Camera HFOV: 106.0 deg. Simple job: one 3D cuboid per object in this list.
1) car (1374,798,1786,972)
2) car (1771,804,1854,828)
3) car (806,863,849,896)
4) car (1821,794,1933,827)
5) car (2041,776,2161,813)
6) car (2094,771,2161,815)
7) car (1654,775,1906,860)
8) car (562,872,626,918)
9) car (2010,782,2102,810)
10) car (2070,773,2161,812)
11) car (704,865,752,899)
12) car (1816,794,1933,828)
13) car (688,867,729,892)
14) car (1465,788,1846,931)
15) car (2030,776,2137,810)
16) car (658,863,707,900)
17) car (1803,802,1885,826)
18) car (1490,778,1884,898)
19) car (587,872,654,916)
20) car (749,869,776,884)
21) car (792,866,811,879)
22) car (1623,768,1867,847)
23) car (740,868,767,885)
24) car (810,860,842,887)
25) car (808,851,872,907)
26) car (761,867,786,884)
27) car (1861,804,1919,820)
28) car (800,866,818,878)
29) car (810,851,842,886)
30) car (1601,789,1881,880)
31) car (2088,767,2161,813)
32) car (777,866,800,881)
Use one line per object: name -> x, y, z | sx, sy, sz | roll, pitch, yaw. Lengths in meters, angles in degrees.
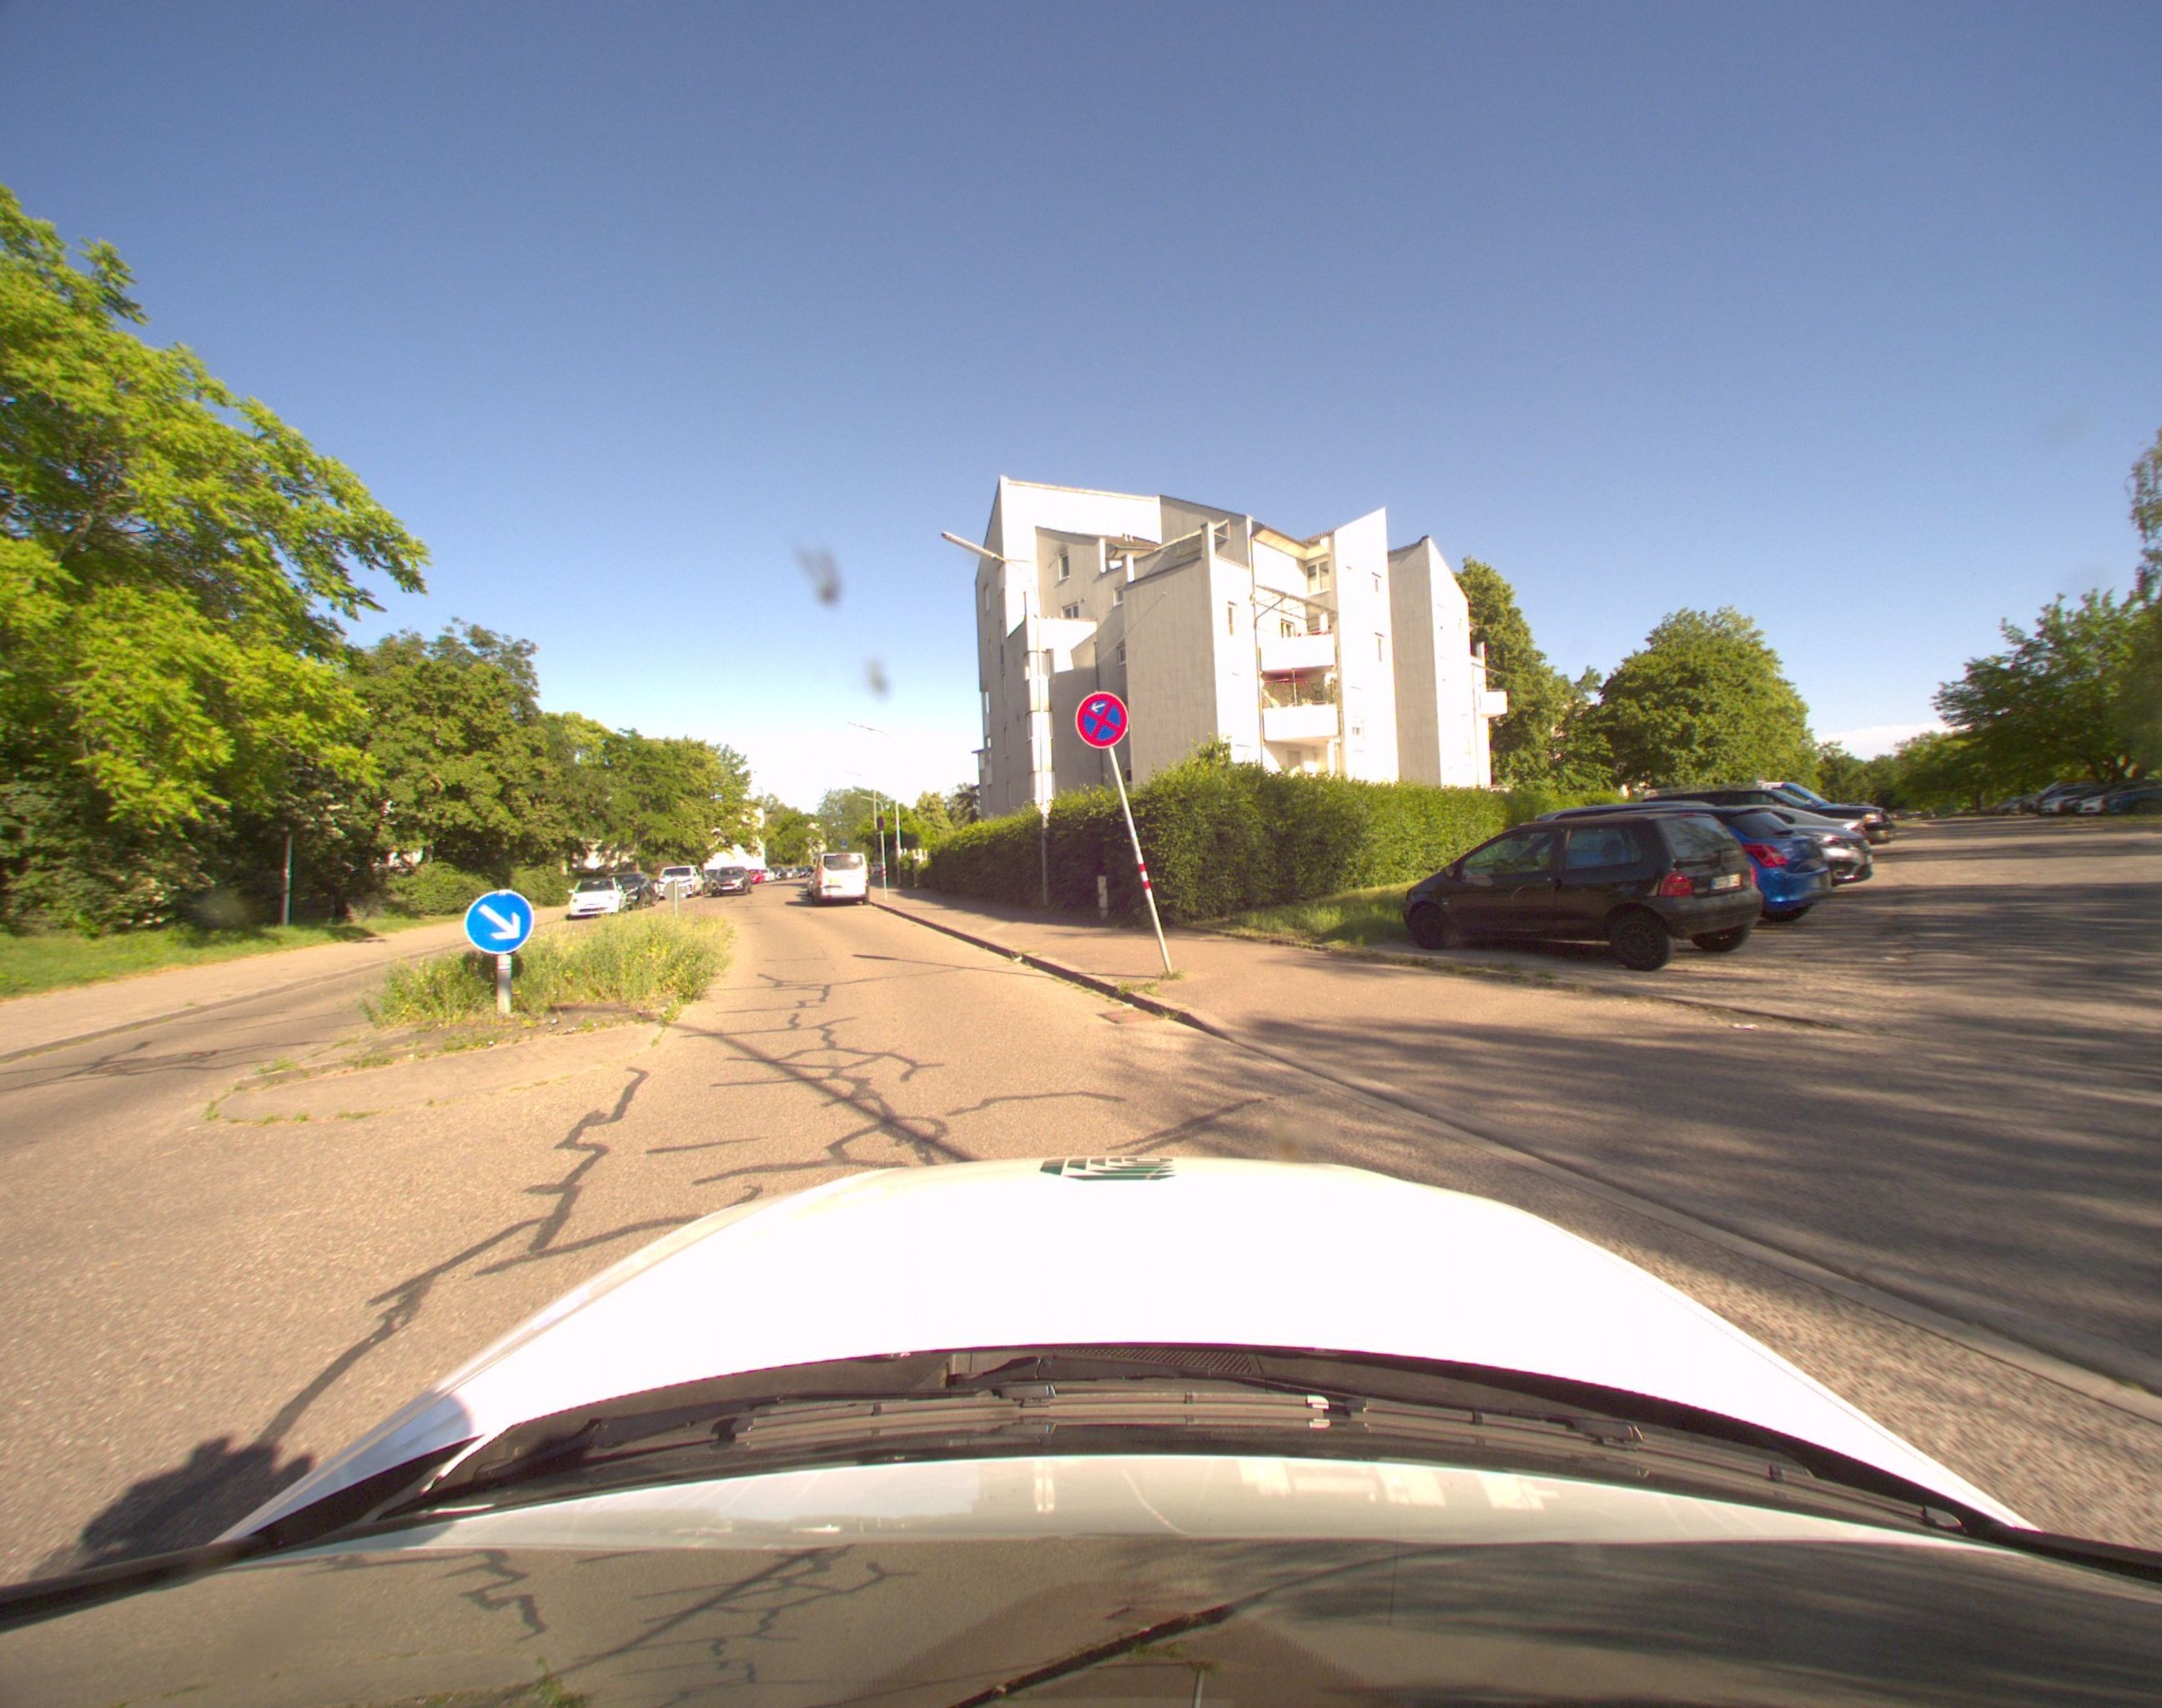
car -> 5.270, 0.269, 9.075 | 1.708, 1.466, 3.502 | -4, 1, -27
car -> 47.942, -2.481, 53.407 | 1.858, 1.334, 3.903 | -4, 1, -45
car -> -13.018, 1.287, 41.682 | 1.916, 1.488, 4.347 | -3, 0, -19
car -> 39.894, -2.173, 40.878 | 1.858, 1.334, 3.903 | -4, 1, -45
car -> 53.240, -3.069, 42.552 | 1.807, 1.585, 3.952 | -3, 1, -41
car -> 42.075, -2.391, 31.227 | 1.807, 1.585, 3.952 | -3, 1, -41
car -> 17.311, -0.851, 20.378 | 1.856, 1.771, 4.484 | -4, 1, -39
car -> -18.354, 1.516, 30.814 | 1.634, 1.527, 3.391 | -3, 0, -25
car -> 66.611, -3.932, 55.716 | 1.807, 1.585, 3.952 | -3, 1, -41
car -> 47.877, -2.797, 36.804 | 1.807, 1.585, 3.952 | -3, 1, -41
car -> -19.889, 1.519, 46.043 | 1.918, 1.705, 4.160 | -4, 0, -17
car -> 37.819, -2.027, 38.895 | 1.858, 1.334, 3.903 | -4, 1, -45
car -> -26.815, 1.806, 58.760 | 1.750, 1.617, 4.343 | -3, 0, -13
car -> 7.260, 0.086, 10.660 | 1.657, 1.496, 3.655 | -4, 0, -31
car -> 60.421, -3.658, 49.198 | 1.807, 1.708, 3.952 | -3, 1, -41
car -> -23.256, 1.570, 47.669 | 1.869, 1.961, 4.642 | -3, 0, -18
car -> 51.094, -2.676, 54.582 | 1.858, 1.334, 3.903 | -4, 1, -45
car -> 9.873, -0.160, 13.710 | 1.793, 1.654, 4.950 | -4, 0, -39
car -> -19.900, 1.666, 35.363 | 1.680, 1.638, 4.223 | -4, 1, -19
car -> -32.412, 2.280, 82.926 | 1.671, 1.421, 3.887 | -4, 0, -10
car -> -34.740, 2.312, 101.190 | 1.662, 1.426, 4.032 | -4, 0, -12
car -> 22.494, -1.484, 27.835 | 6.198, 2.147, 2.426 | -3, 1, 44
car -> -31.056, 2.131, 77.369 | 1.672, 1.474, 3.662 | -4, 0, -13
car -> -17.502, 1.336, 55.796 | 1.916, 1.666, 4.347 | -3, 0, -19
car -> -9.531, 0.950, 31.921 | 2.001, 1.912, 4.919 | -3, 0, -20
car -> -33.596, 2.300, 89.117 | 1.671, 1.666, 4.390 | -4, 0, -10
car -> 73.216, -3.782, 73.749 | 1.858, 1.212, 3.611 | -4, 1, -45
car -> -35.548, 2.361, 106.566 | 1.662, 1.426, 3.799 | -4, 0, -12
car -> -19.067, 1.080, 61.145 | 2.109, 2.486, 5.823 | -1, -1, -16
car -> 12.984, -0.324, 16.217 | 4.104, 1.455, 1.629 | -4, -1, 44
car -> 39.630, -2.380, 29.429 | 1.807, 1.585, 3.952 | -3, 1, -41
car -> -34.354, 2.257, 95.795 | 1.660, 1.486, 4.041 | -4, 0, -8
